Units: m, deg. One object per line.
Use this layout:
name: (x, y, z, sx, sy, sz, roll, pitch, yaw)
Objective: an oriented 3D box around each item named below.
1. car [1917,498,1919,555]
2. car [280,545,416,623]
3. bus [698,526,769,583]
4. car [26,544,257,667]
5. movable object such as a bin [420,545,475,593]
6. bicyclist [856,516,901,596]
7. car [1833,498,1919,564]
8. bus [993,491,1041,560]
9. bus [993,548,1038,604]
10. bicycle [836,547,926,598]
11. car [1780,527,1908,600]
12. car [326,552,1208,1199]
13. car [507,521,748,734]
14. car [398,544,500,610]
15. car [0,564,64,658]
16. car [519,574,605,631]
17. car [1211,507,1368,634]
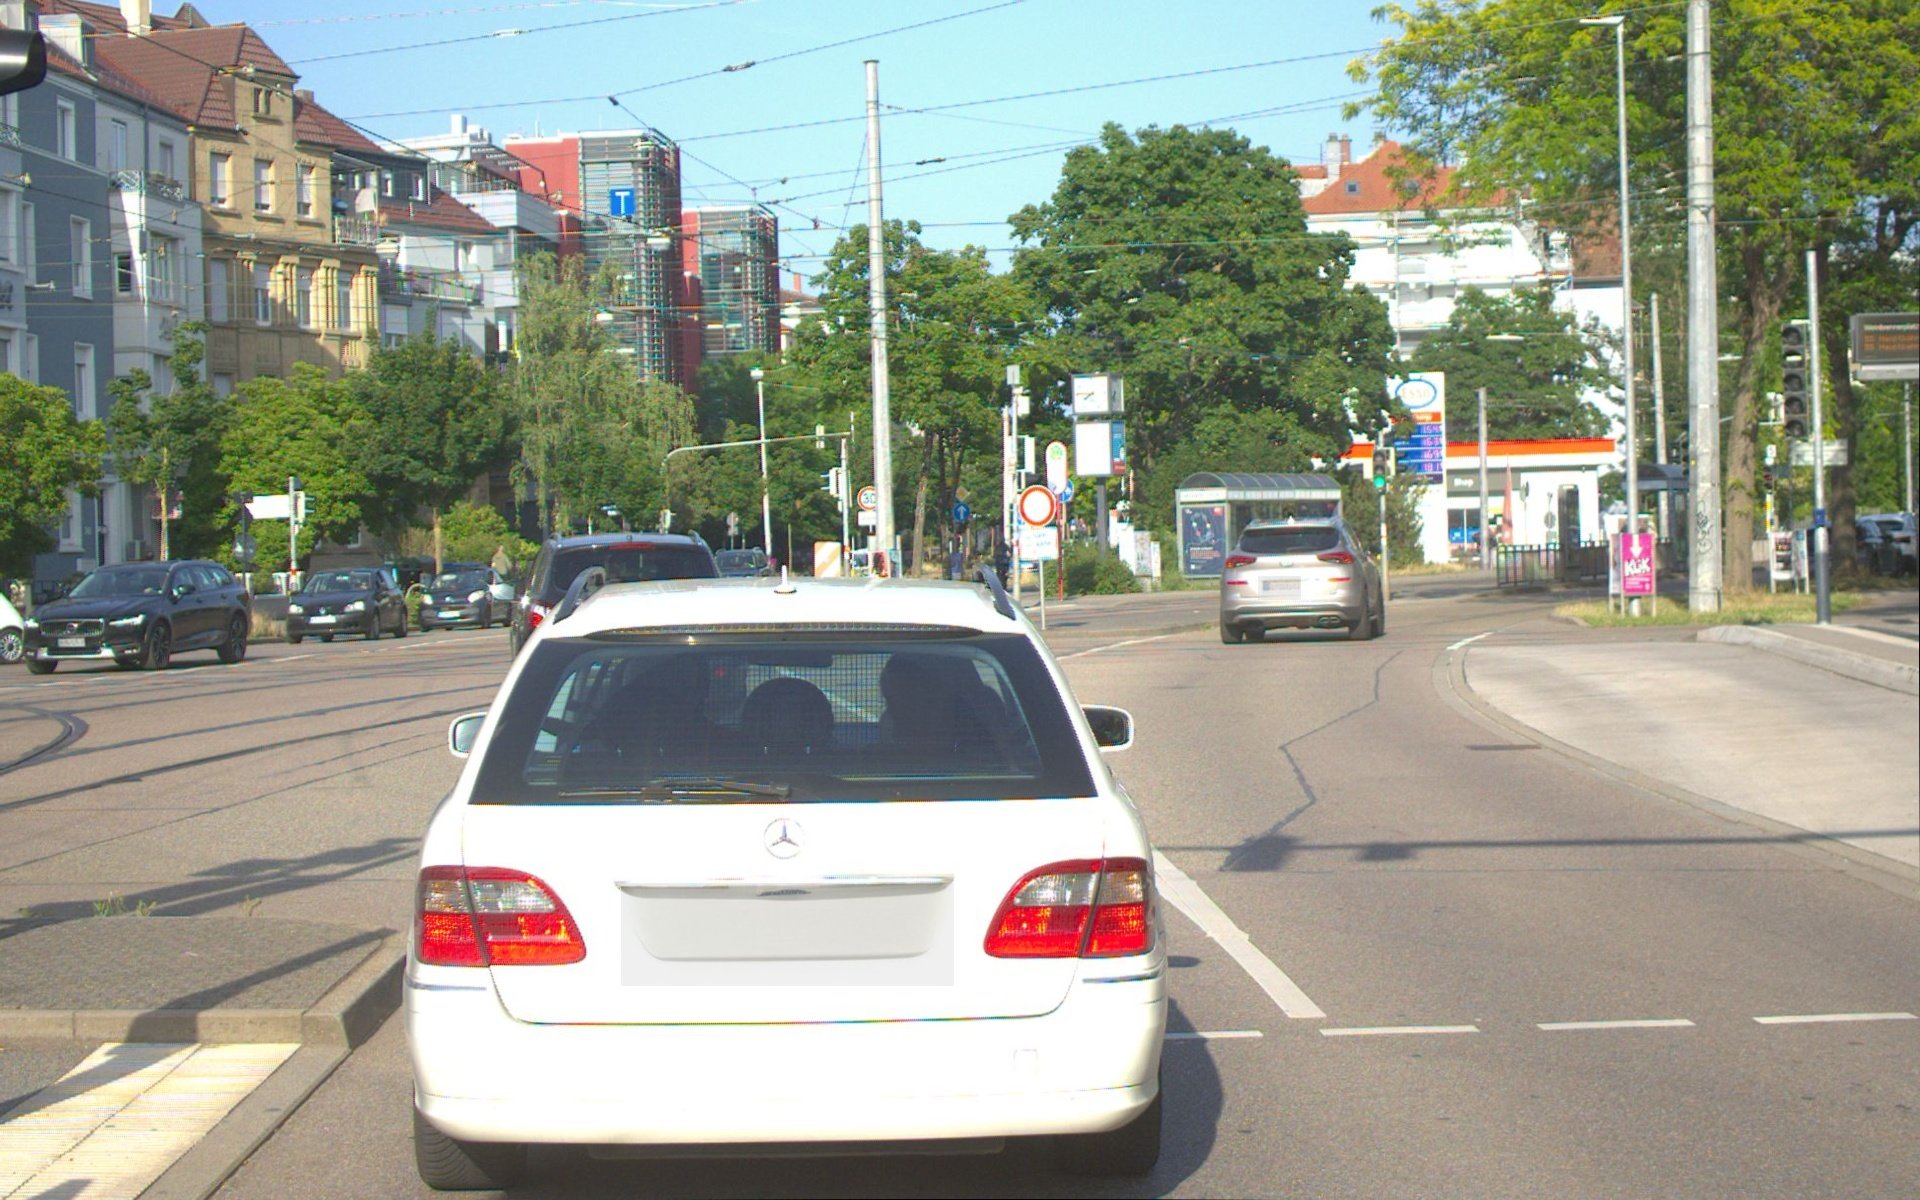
car: (27.538, -2.070, 93.786, 1.856, 1.510, 3.994, -2, 1, 28)
car: (-12.091, -0.335, 68.112, 1.767, 1.428, 4.000, -2, 1, 3)
bus: (-6.728, -1.370, 102.502, 1.844, 1.630, 4.159, -2, 1, -1)
car: (-11.584, 0.042, 49.001, 1.767, 1.489, 4.744, -2, 2, 5)
movable object such as a bin: (-15.884, -0.960, 106.575, 1.602, 1.416, 1.085, -2, 1, -8)
bicyclist: (-1.785, -0.965, 75.473, 0.899, 1.693, 0.732, -3, 1, 0)
car: (22.948, -1.717, 84.672, 1.856, 1.510, 3.994, -2, 1, 28)
bus: (2.180, -2.838, 131.260, 1.798, 2.546, 4.000, 1, 0, 1)
bus: (2.359, -1.031, 146.930, 1.797, 2.325, 4.000, 1, 0, 0)
bicycle: (-1.733, -0.611, 75.481, 1.914, 0.991, 0.727, -3, 1, 0)
car: (20.463, -0.856, 79.499, 1.856, 1.510, 3.994, -2, 1, 29)
car: (-0.434, 0.628, 9.073, 1.835, 1.496, 3.815, 0, 1, -1)
car: (-2.616, 0.177, 27.772, 1.641, 1.595, 3.815, 0, 1, -1)
car: (-11.894, -0.550, 80.207, 1.634, 1.428, 3.628, -2, 1, 3)
car: (-16.406, 0.230, 54.364, 1.798, 1.452, 3.991, -1, 2, 40)
car: (-11.001, 0.049, 95.246, 1.689, 1.436, 4.000, -2, 1, 3)
car: (4.292, -0.407, 45.259, 1.835, 1.595, 3.815, 0, 1, 2)
